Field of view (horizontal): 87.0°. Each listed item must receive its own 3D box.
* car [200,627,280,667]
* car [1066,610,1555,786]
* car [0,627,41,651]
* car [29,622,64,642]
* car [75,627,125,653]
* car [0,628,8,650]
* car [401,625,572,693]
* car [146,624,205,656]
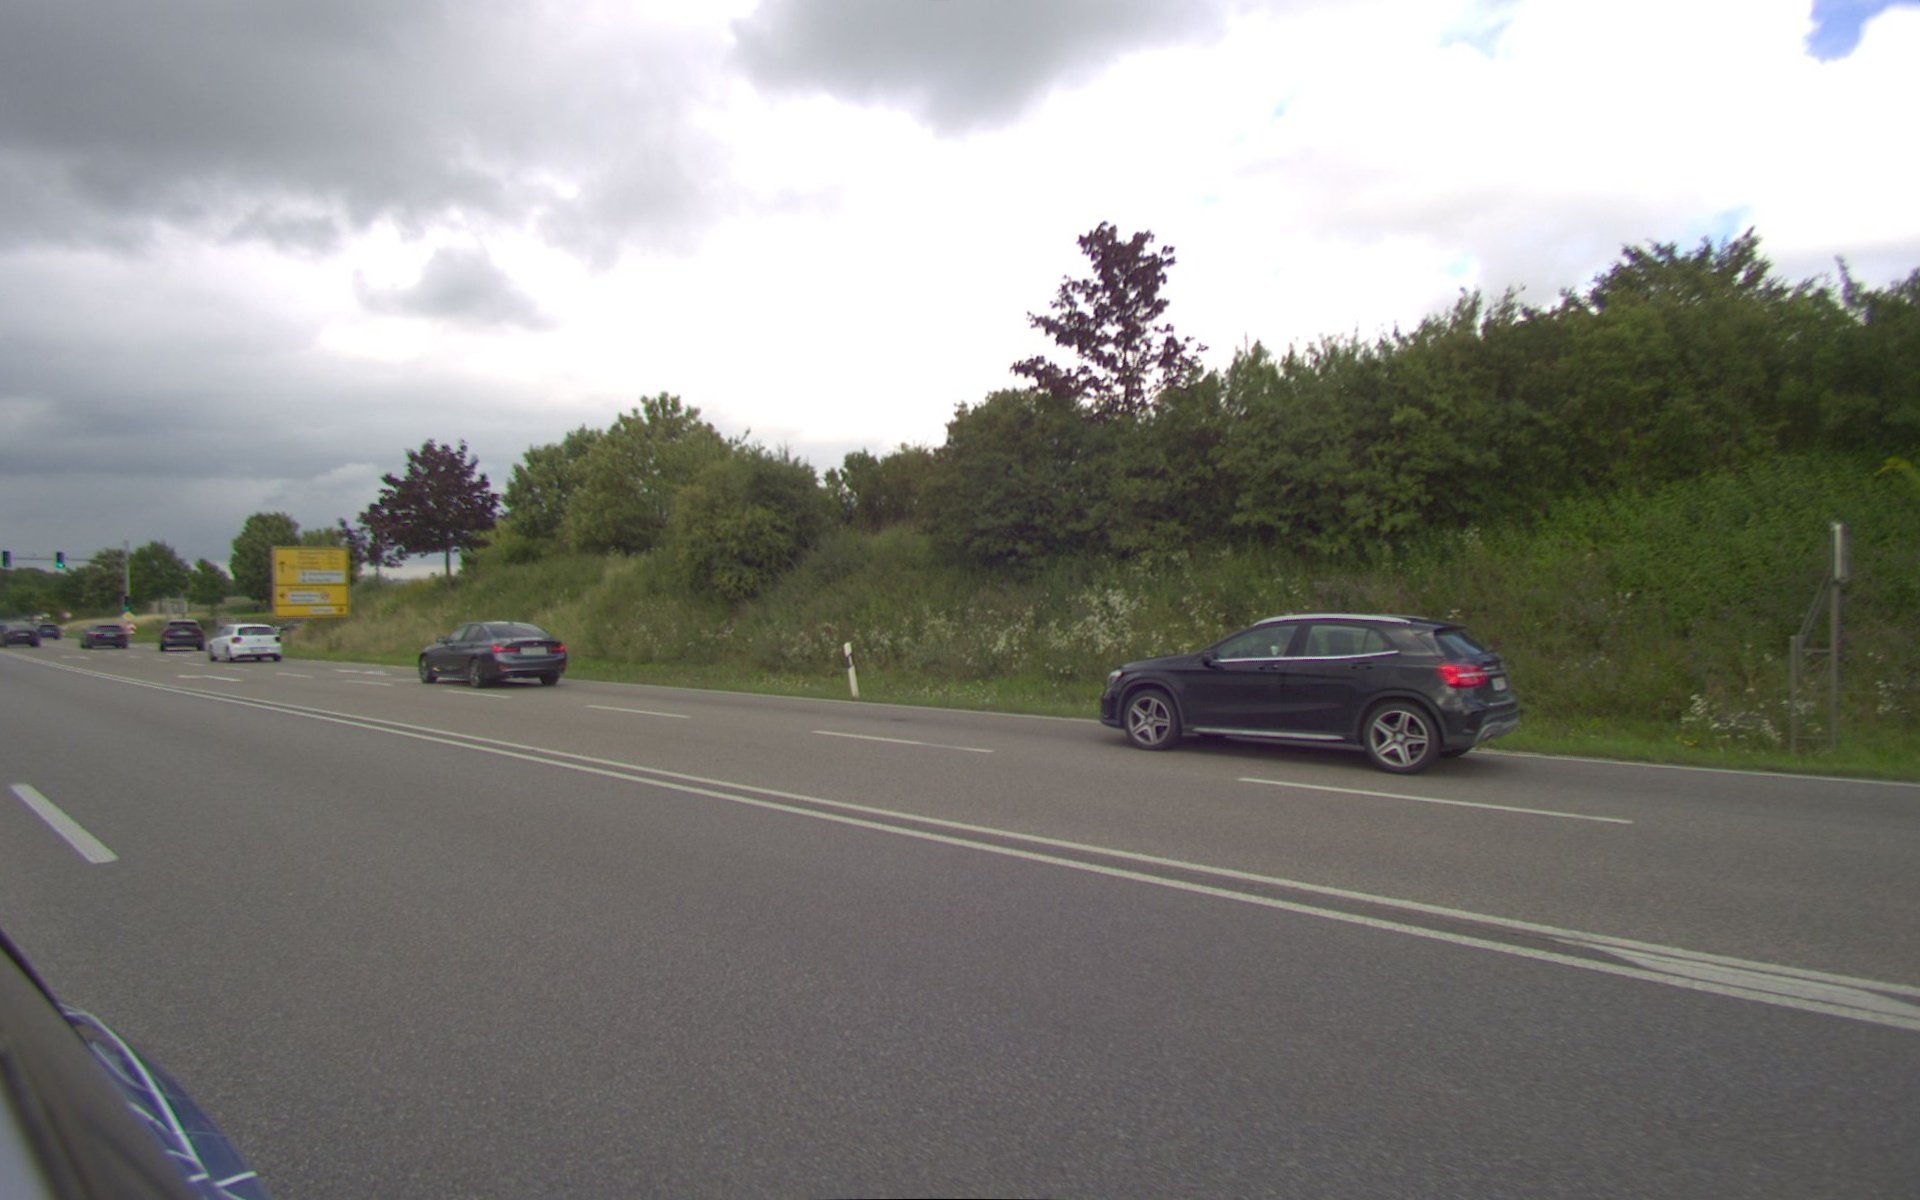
[{"bbox_3d":[-27.569,1.770,38.714,4.053,1.425,1.591,-2,-1,41],"label":"car"},{"bbox_3d":[3.592,0.919,10.995,4.702,1.523,1.775,-2,-2,41],"label":"car"},{"bbox_3d":[-58.293,2.412,62.584,4.185,1.418,1.835,-2,-2,43],"label":"car"},{"bbox_3d":[-81.302,2.830,90.035,4.127,1.729,1.831,-2,0,41],"label":"car"},{"bbox_3d":[-50.146,2.314,59.007,4.659,1.492,1.704,-2,-2,43],"label":"car"},{"bbox_3d":[-67.054,2.707,69.783,4.000,1.460,1.835,-2,-2,43],"label":"car"},{"bbox_3d":[-10.898,1.302,23.135,4.702,1.416,1.775,-2,-3,41],"label":"car"},{"bbox_3d":[-41.801,2.091,53.877,4.398,1.608,1.835,-2,-2,43],"label":"car"}]
